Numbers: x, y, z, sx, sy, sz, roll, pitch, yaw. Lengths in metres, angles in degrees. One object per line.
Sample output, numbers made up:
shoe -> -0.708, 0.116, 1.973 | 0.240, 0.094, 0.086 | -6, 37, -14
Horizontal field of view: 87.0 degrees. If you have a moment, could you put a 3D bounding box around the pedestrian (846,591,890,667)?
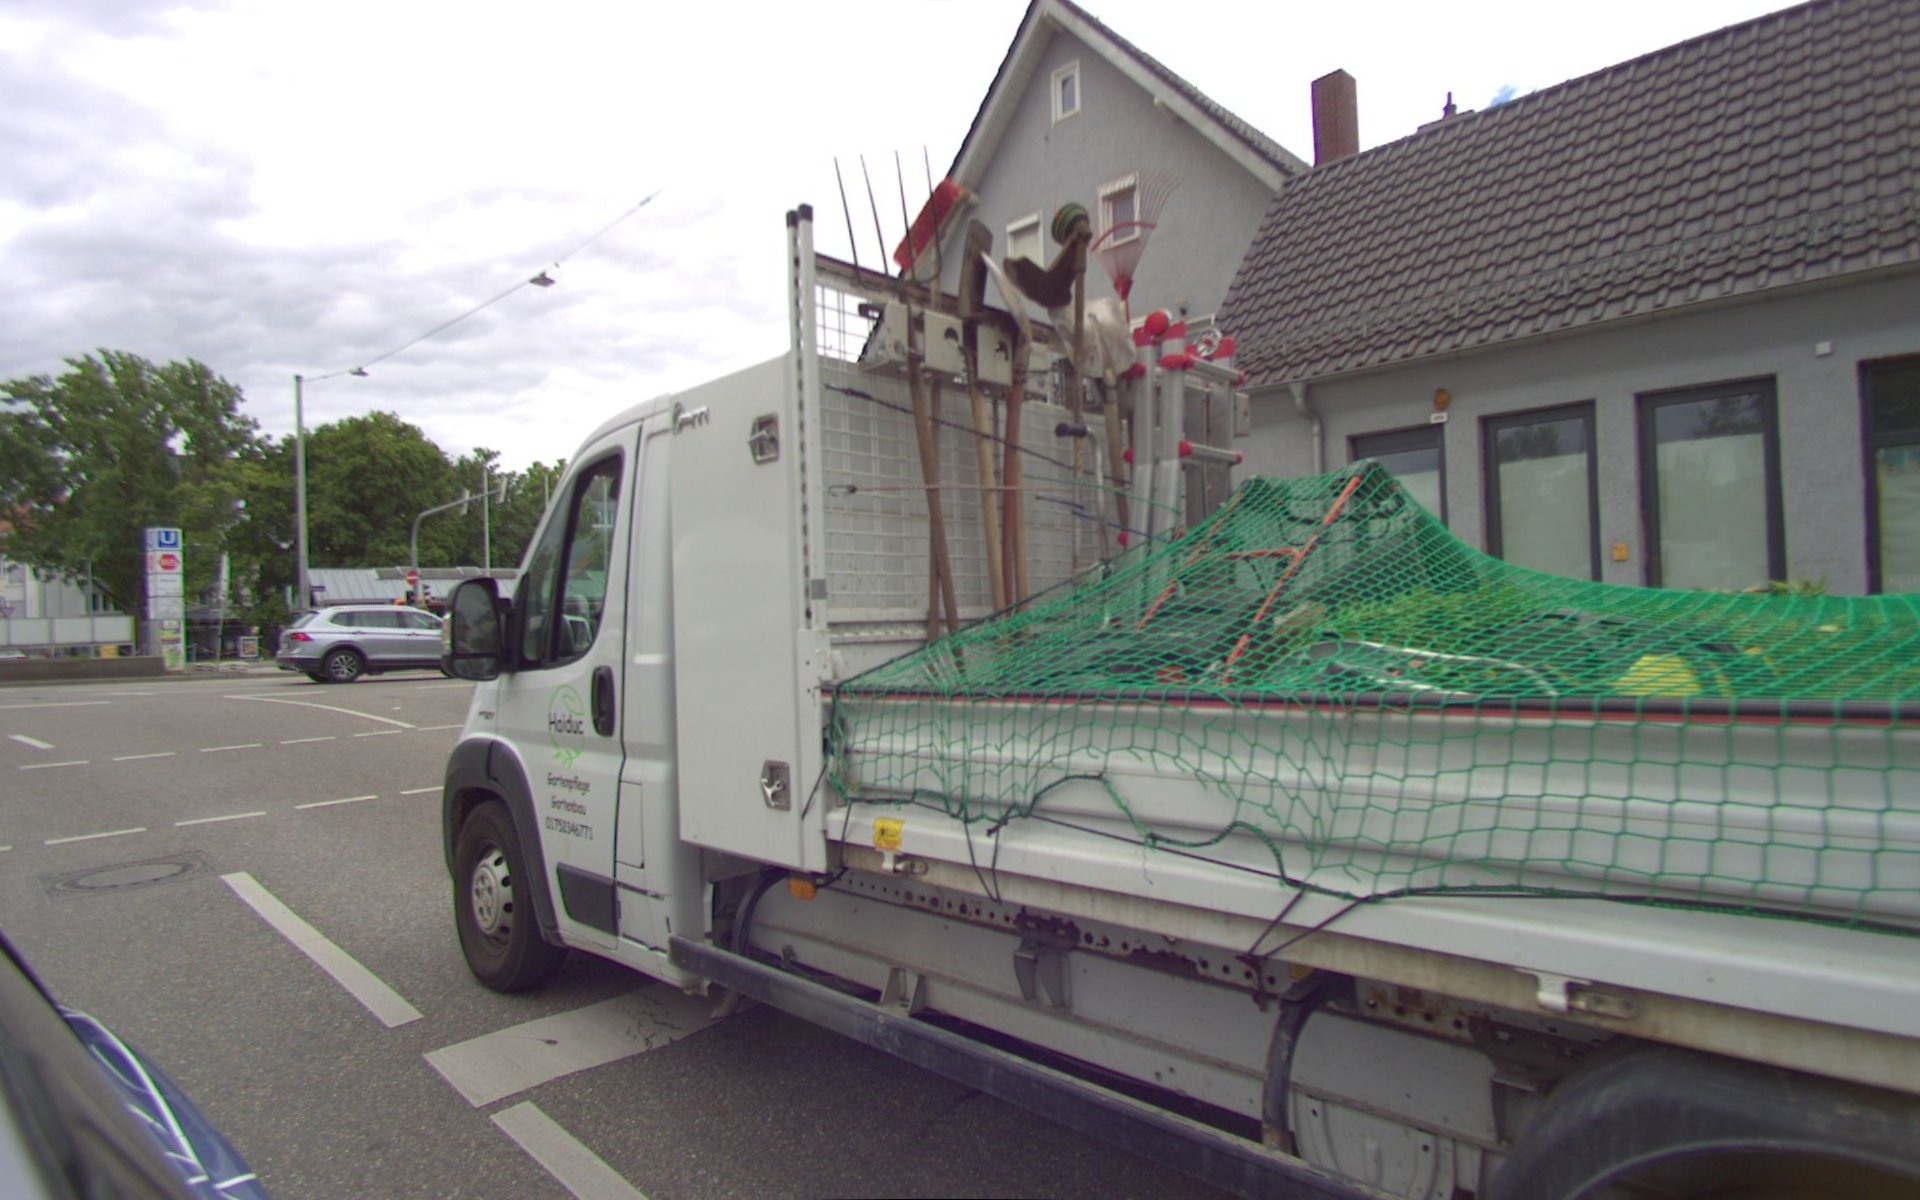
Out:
pedestrian -> -2.323, 0.744, 25.577 | 0.725, 1.880, 0.766 | -1, -4, 39

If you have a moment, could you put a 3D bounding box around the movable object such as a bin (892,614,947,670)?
movable object such as a bin -> -0.851, 0.883, 21.329 | 0.763, 1.143, 0.831 | -1, -4, 40

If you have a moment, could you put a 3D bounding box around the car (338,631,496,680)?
car -> -16.207, 1.625, 30.338 | 1.667, 1.321, 3.862 | -1, -2, 42

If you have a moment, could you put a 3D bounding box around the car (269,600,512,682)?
car -> -12.748, 0.918, 22.832 | 4.445, 1.683, 2.002 | 1, -4, -44

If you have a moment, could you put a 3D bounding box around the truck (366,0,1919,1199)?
truck -> 0.701, 0.308, 2.536 | 6.592, 2.218, 2.097 | -1, 0, 45

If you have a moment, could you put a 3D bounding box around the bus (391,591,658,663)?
bus -> -20.303, 1.208, 48.144 | 11.678, 3.086, 2.002 | 0, -3, -43

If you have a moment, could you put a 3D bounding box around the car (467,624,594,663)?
car -> -15.413, 1.571, 36.461 | 1.667, 1.321, 3.862 | -1, -4, 42
